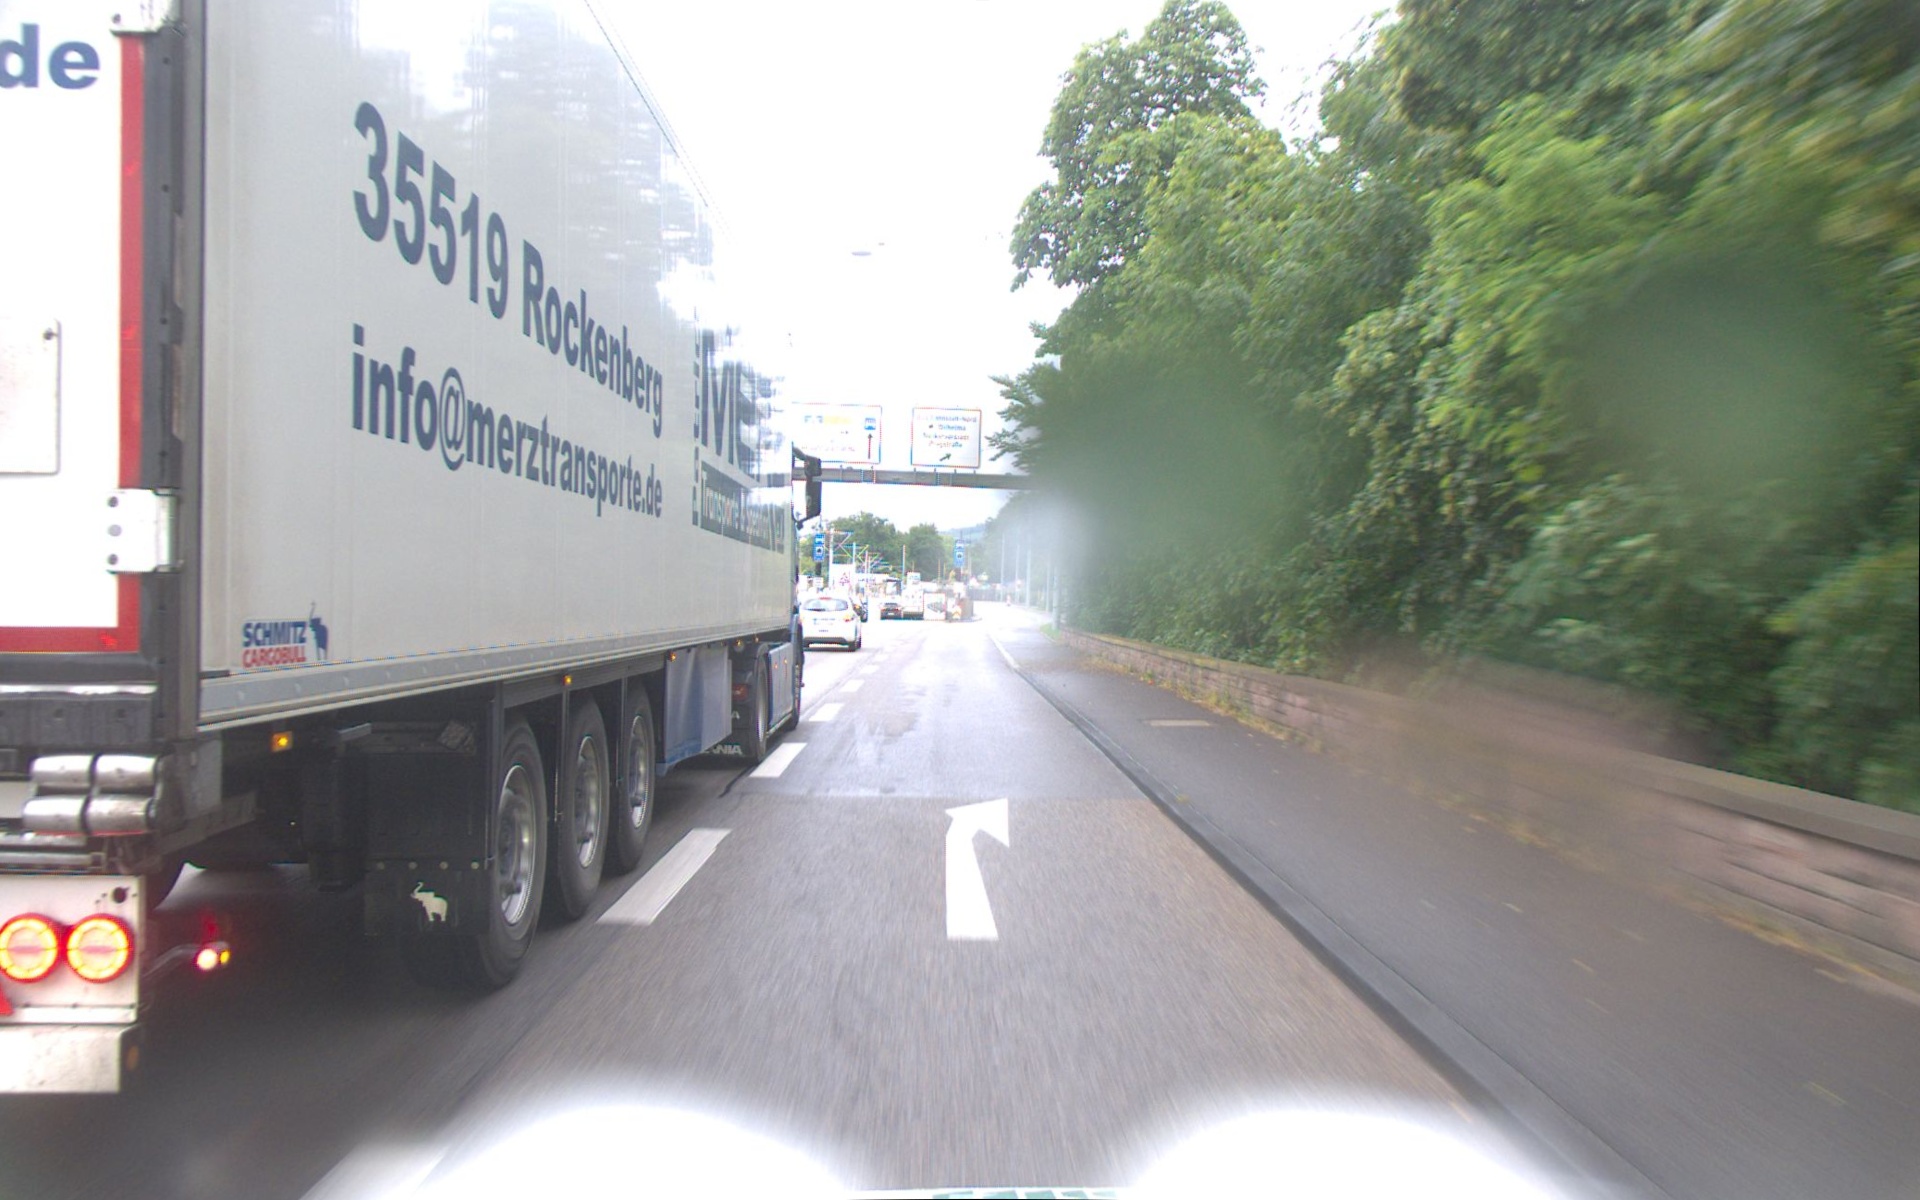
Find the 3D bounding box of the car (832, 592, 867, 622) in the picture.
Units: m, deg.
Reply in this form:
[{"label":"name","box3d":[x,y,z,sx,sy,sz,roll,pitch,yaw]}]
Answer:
[{"label":"car","box3d":[-5.919,0.376,88.685,1.656,1.534,3.767,1,0,-1]}]

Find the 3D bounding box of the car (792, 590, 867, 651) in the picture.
[{"label":"car","box3d":[-3.481,0.510,44.722,1.773,1.448,4.000,1,2,-1]}]

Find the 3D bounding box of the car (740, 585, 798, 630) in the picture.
[{"label":"car","box3d":[-6.805,0.247,59.239,1.647,1.471,4.000,1,2,-1]}]

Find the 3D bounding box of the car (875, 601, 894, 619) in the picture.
[{"label":"car","box3d":[-6.000,0.749,131.584,1.397,1.378,2.960,1,0,-1]}]

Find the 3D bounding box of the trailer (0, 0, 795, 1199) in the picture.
[{"label":"trailer","box3d":[-2.879,-0.699,9.534,2.706,4.327,13.181,0,0,-1]}]

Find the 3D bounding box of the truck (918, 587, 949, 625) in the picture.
[{"label":"truck","box3d":[-2.984,0.655,186.997,3.447,4.110,8.072,1,0,-1]}]

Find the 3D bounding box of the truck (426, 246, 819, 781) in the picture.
[{"label":"truck","box3d":[-2.973,-0.714,16.418,2.700,4.278,6.305,0,0,-1]}]
